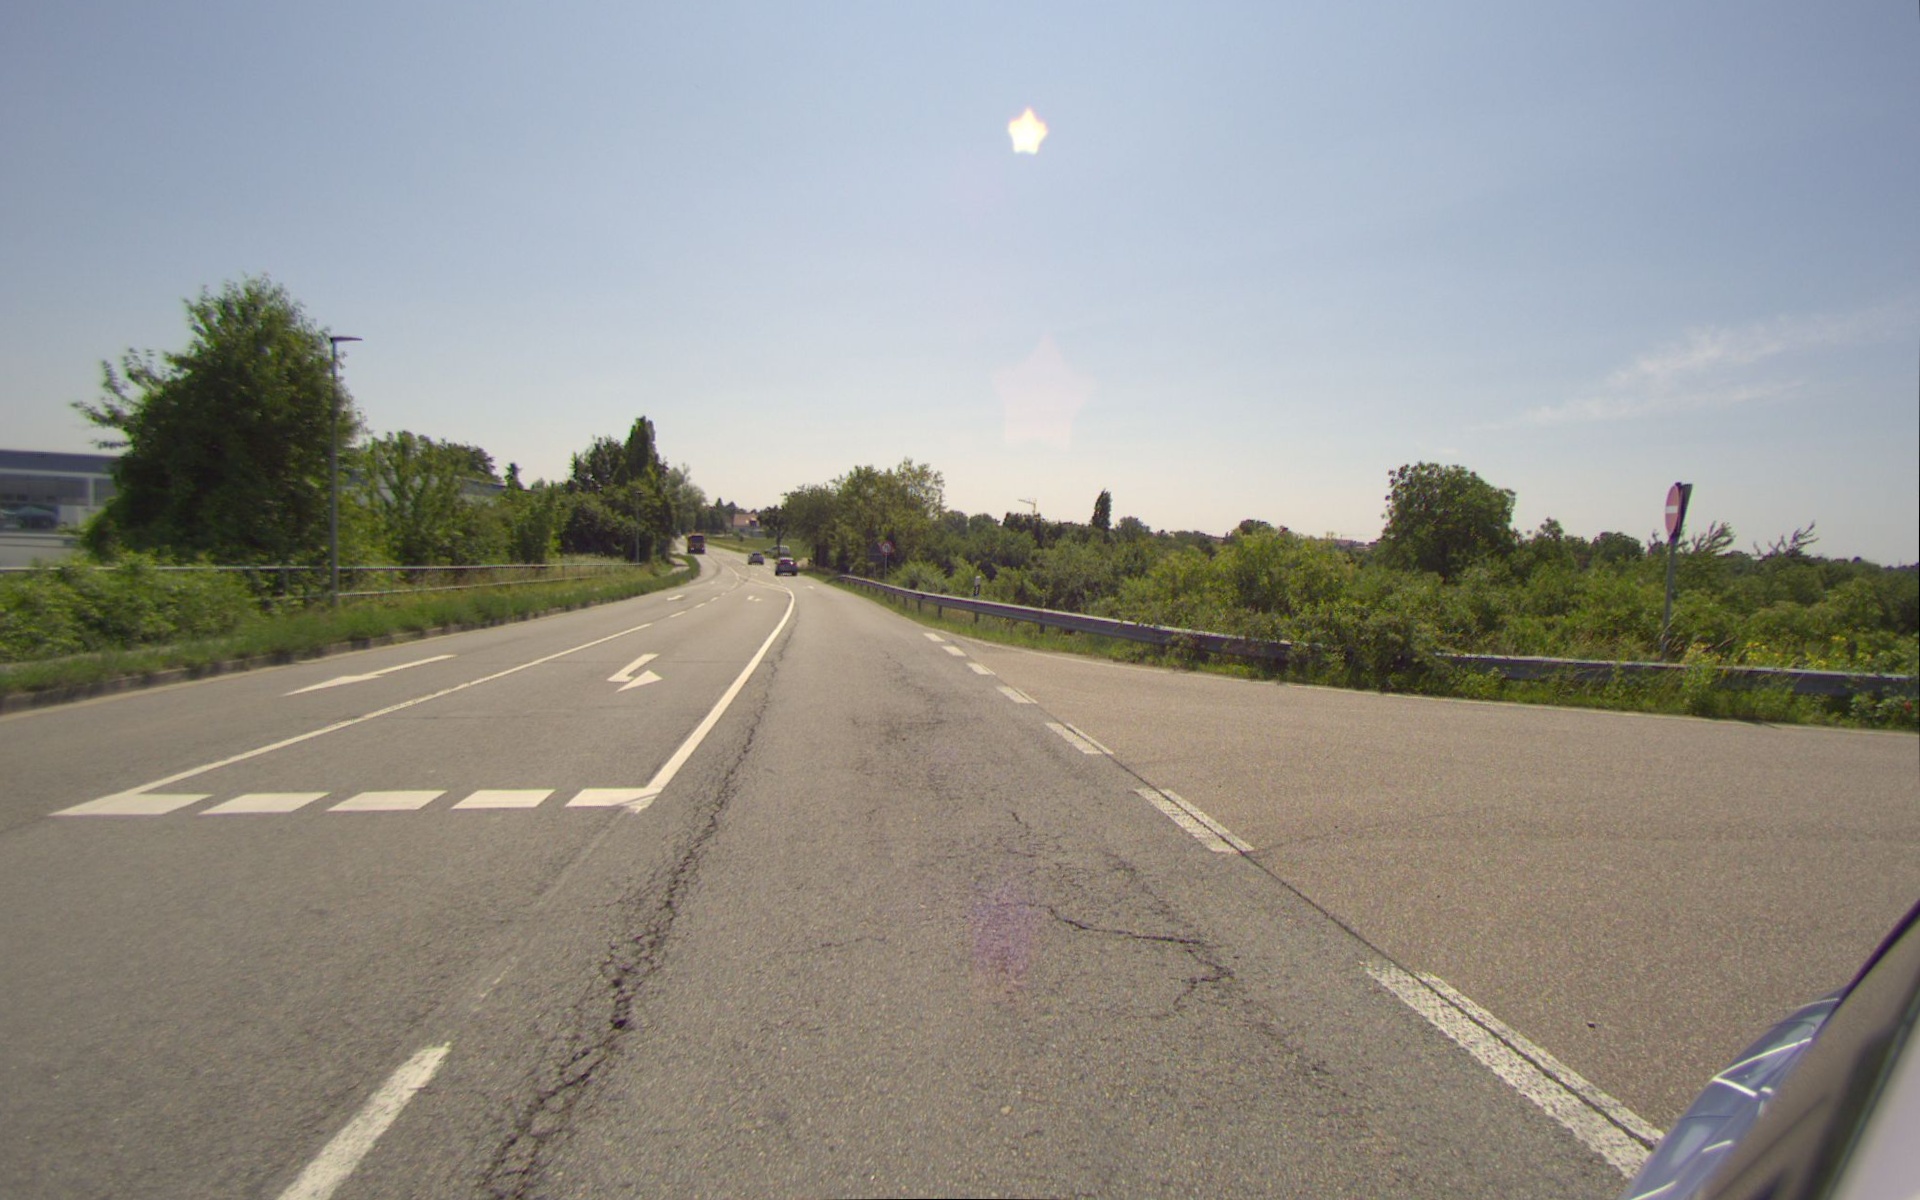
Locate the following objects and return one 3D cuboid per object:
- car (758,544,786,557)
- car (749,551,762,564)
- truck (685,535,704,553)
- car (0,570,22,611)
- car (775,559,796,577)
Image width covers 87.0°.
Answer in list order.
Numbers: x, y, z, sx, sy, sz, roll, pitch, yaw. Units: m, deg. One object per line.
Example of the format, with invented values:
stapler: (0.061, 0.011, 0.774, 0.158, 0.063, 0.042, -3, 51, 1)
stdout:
car: (-31.902, -8.442, 171.693, 4.337, 2.038, 1.998, 2, 2, 5)
car: (-25.897, -5.334, 128.248, 1.495, 1.592, 3.676, 1, 2, -9)
truck: (-43.093, -9.137, 164.257, 2.802, 2.821, 6.977, 1, 3, -17)
car: (-45.156, -0.481, 45.490, 4.057, 1.744, 1.735, 1, 4, -10)
car: (-15.865, -2.895, 92.114, 1.761, 1.603, 4.500, 1, 1, -11)
